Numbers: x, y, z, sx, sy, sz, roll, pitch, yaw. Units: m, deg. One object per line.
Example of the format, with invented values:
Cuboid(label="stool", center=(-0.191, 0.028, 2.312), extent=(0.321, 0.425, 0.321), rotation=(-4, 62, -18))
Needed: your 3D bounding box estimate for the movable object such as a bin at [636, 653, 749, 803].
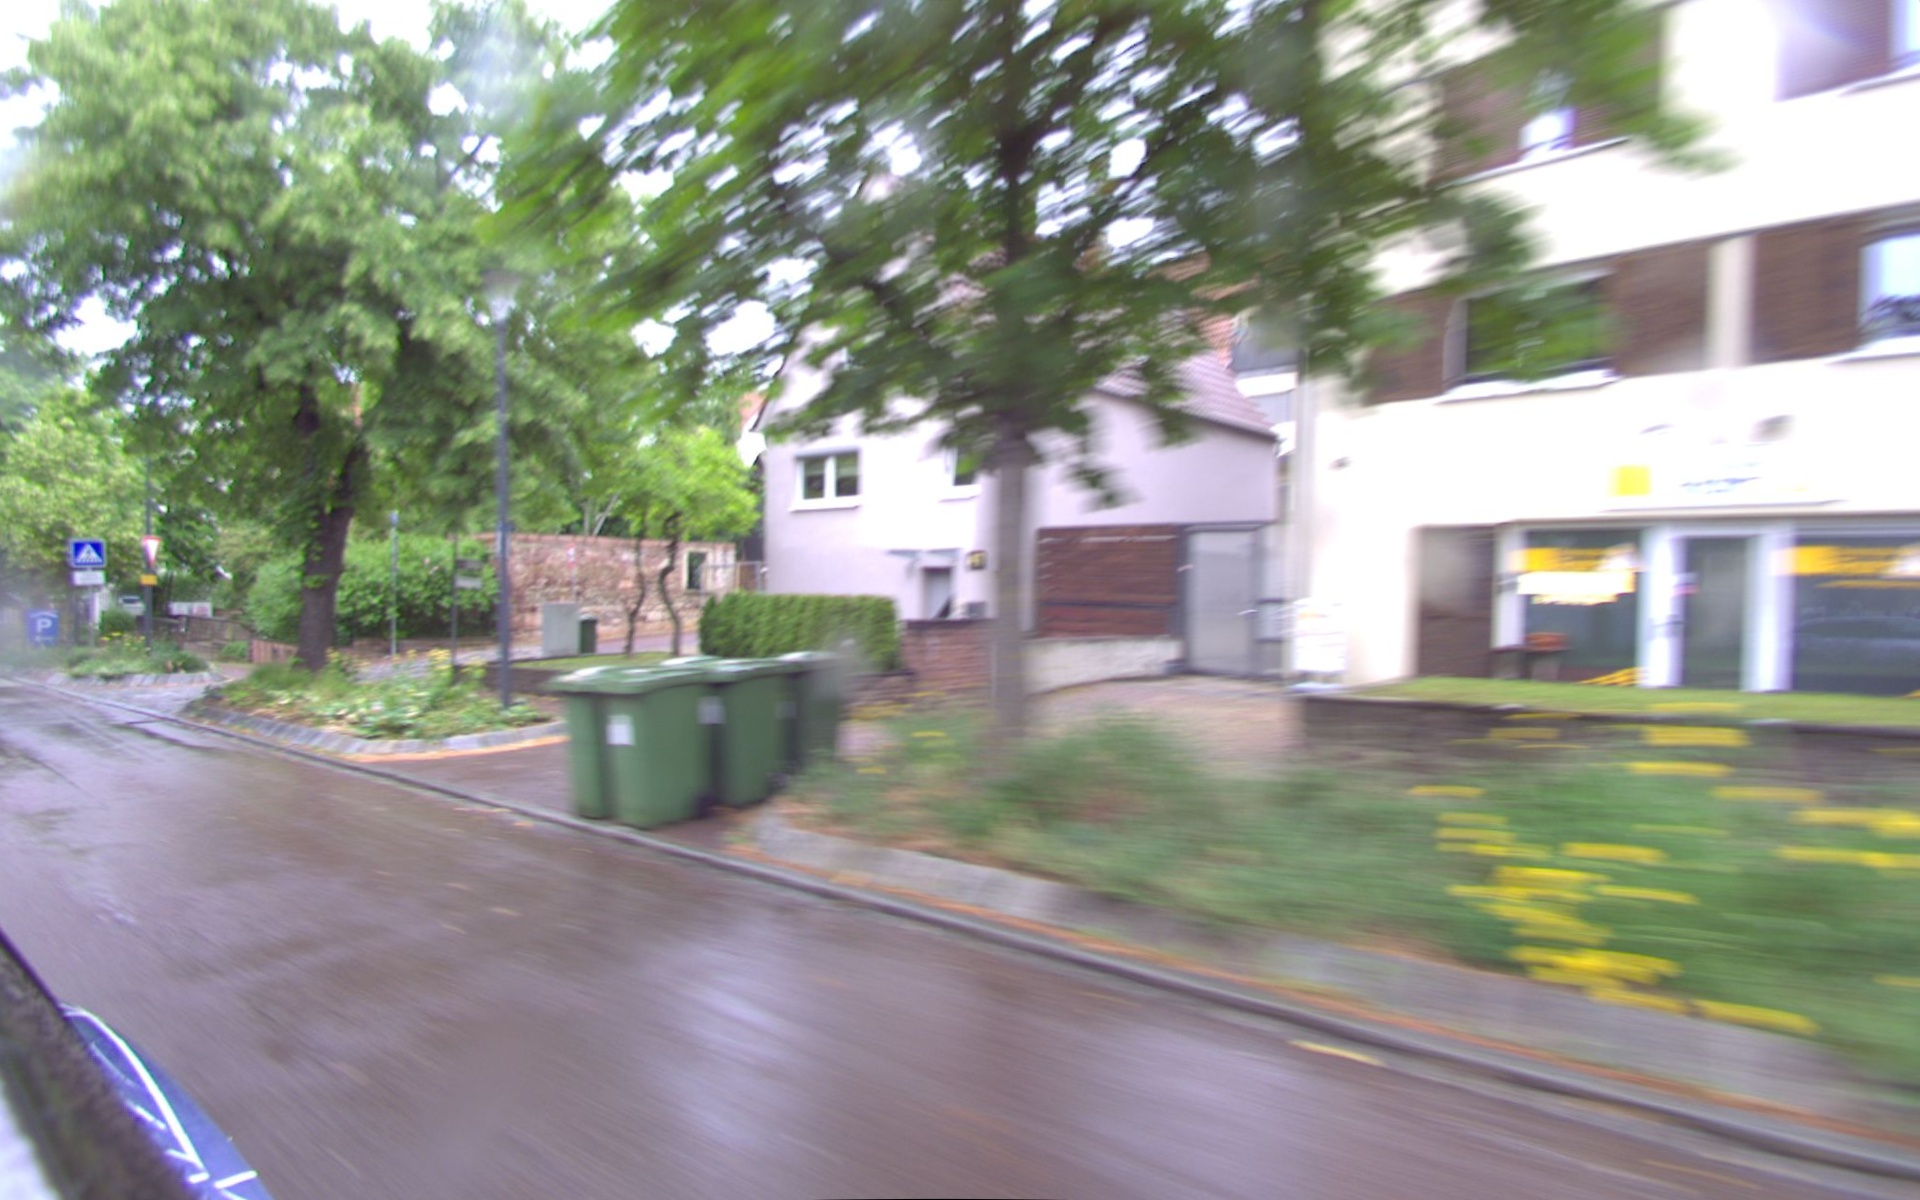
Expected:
Cuboid(label="movable object such as a bin", center=(-2.118, 0.985, 8.032), extent=(0.581, 1.069, 0.617), rotation=(-1, 1, 39))

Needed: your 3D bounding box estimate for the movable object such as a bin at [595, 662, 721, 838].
Cuboid(label="movable object such as a bin", center=(-2.081, 1.000, 6.988), extent=(0.570, 1.085, 0.578), rotation=(-1, 1, 39))

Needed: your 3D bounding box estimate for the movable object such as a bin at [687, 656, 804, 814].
Cuboid(label="movable object such as a bin", center=(-1.608, 0.985, 7.612), extent=(0.568, 1.067, 0.611), rotation=(-1, 1, 39))

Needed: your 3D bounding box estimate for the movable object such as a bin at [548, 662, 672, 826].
Cuboid(label="movable object such as a bin", center=(-2.556, 1.019, 7.393), extent=(0.564, 1.067, 0.622), rotation=(-1, 1, 39))

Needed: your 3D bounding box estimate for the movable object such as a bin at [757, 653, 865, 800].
Cuboid(label="movable object such as a bin", center=(-1.192, 0.985, 8.125), extent=(0.560, 1.067, 0.611), rotation=(-1, 1, 39))
